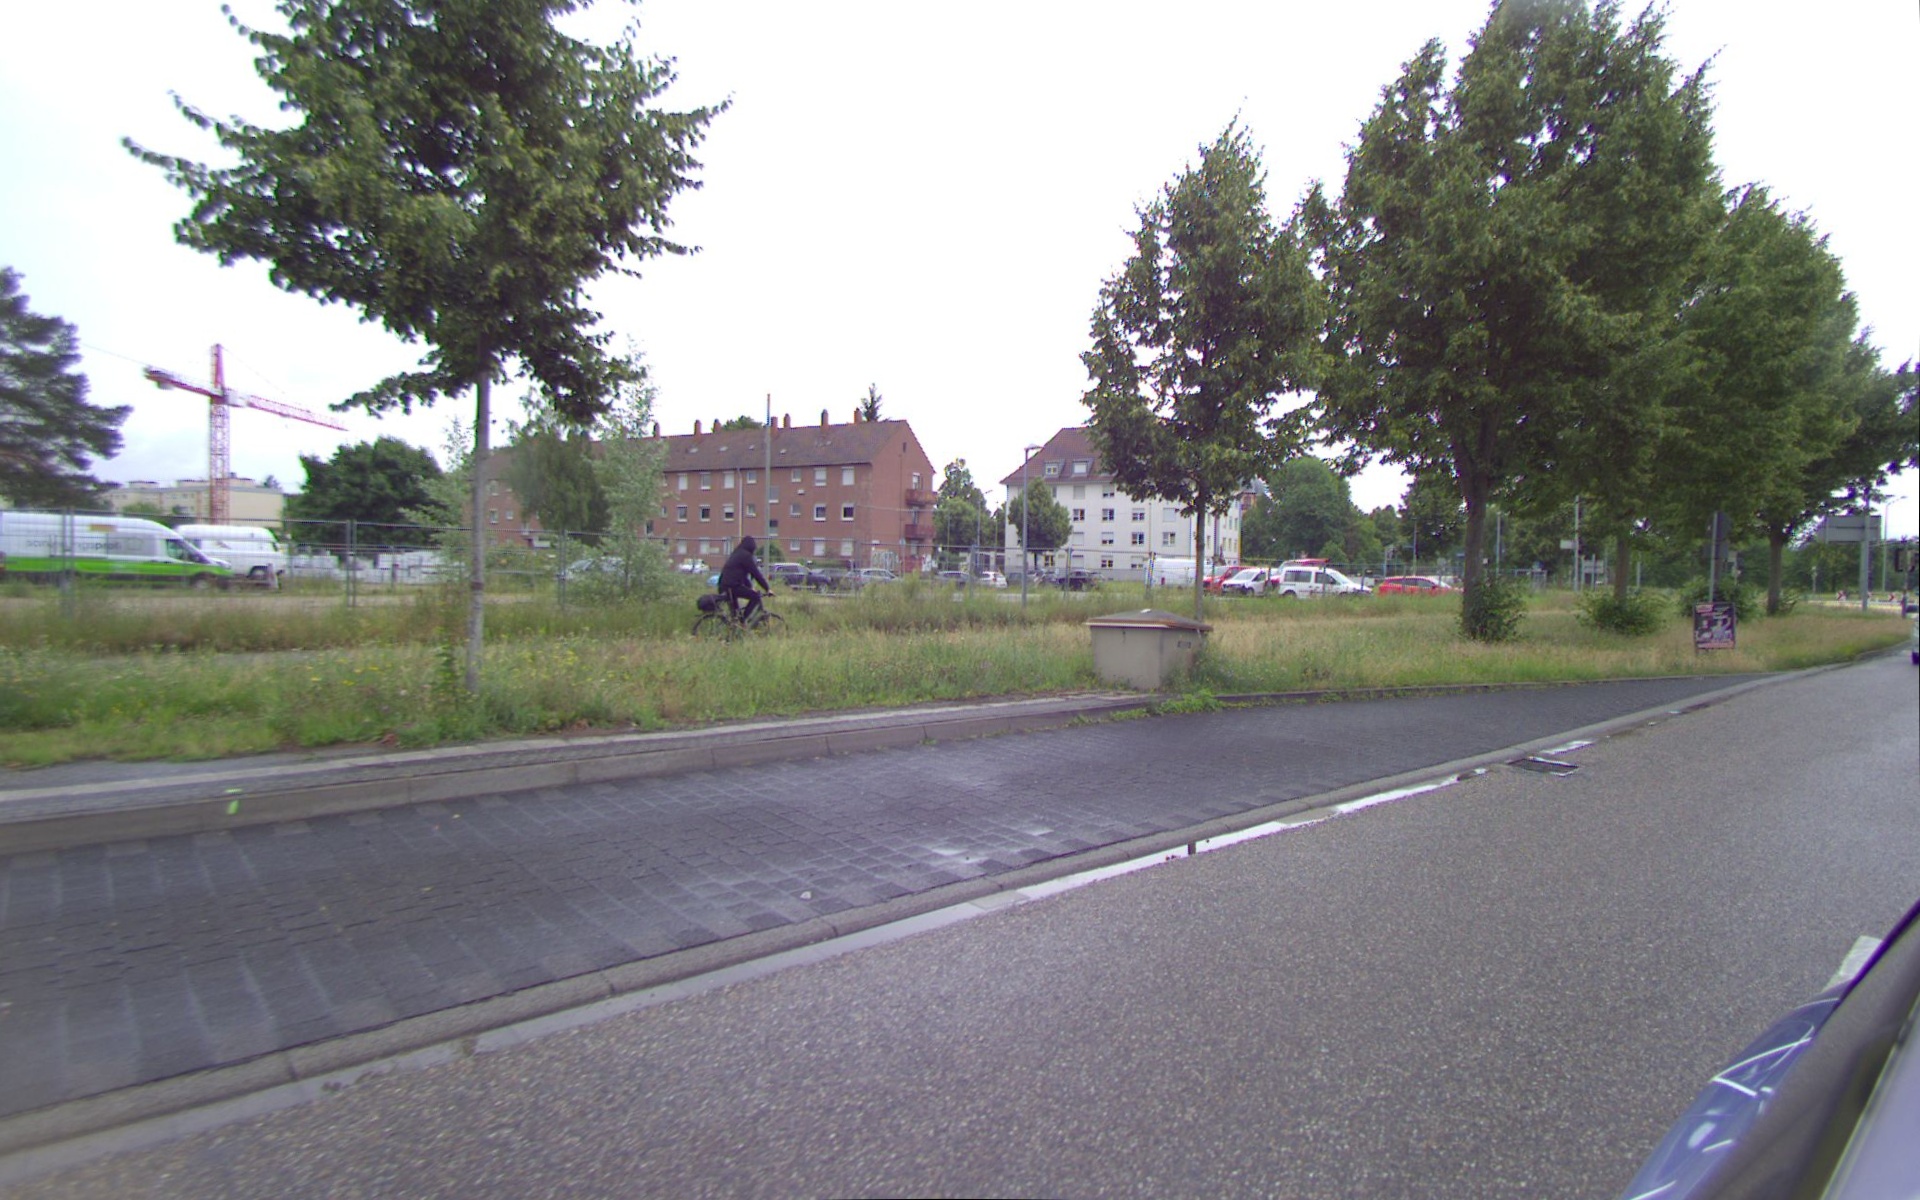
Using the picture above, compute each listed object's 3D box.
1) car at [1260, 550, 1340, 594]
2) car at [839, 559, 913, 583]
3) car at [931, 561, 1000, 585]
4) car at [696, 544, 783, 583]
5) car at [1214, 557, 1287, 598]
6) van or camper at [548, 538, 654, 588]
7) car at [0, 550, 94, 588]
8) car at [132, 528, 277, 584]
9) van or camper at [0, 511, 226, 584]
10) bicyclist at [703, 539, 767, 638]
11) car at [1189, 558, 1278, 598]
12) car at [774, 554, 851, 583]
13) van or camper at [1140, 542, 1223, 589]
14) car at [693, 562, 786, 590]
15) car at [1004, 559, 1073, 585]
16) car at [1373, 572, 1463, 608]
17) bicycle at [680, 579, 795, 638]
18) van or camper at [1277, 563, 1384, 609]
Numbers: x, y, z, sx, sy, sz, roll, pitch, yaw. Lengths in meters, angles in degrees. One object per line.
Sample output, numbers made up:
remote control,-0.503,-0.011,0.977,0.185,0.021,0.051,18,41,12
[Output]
car,18.707,-1.524,55.621,3.919,2.339,2.003,0,1,-28
car,-5.029,-1.734,60.584,3.921,1.390,2.002,-1,0,-31
car,0.340,-1.695,63.722,3.916,1.471,2.004,0,0,-14
car,-13.393,-2.209,61.599,4.682,2.247,2.273,0,1,-45
car,16.881,-1.286,58.773,3.922,2.339,2.001,0,1,-33
van or camper,-19.423,-1.965,54.951,1.912,2.567,5.182,1,1,42
car,-35.992,-1.183,38.376,4.682,1.369,2.092,-1,2,-45
car,-31.885,-1.807,42.783,4.682,2.247,2.273,0,1,-45
van or camper,-29.693,-1.768,35.615,6.046,2.336,2.205,0,1,-44
bicyclist,-3.550,-0.186,15.985,0.825,1.524,0.537,0,1,-38
car,16.711,-1.328,61.719,5.339,2.339,2.200,0,1,-33
car,-8.278,-1.761,56.955,1.992,1.538,3.941,0,0,41
van or camper,15.157,-2.305,69.303,5.400,3.073,2.349,0,0,-30
car,-11.592,-1.251,53.506,1.993,1.404,4.498,2,2,42
car,4.994,-1.776,64.710,3.916,1.571,2.004,0,0,-14
car,22.998,-0.515,50.908,1.648,1.727,3.807,0,0,-35
bicycle,-3.513,0.117,16.033,1.713,0.889,0.548,0,2,-38
van or camper,17.147,-0.691,46.991,4.321,2.039,1.832,2,1,44
